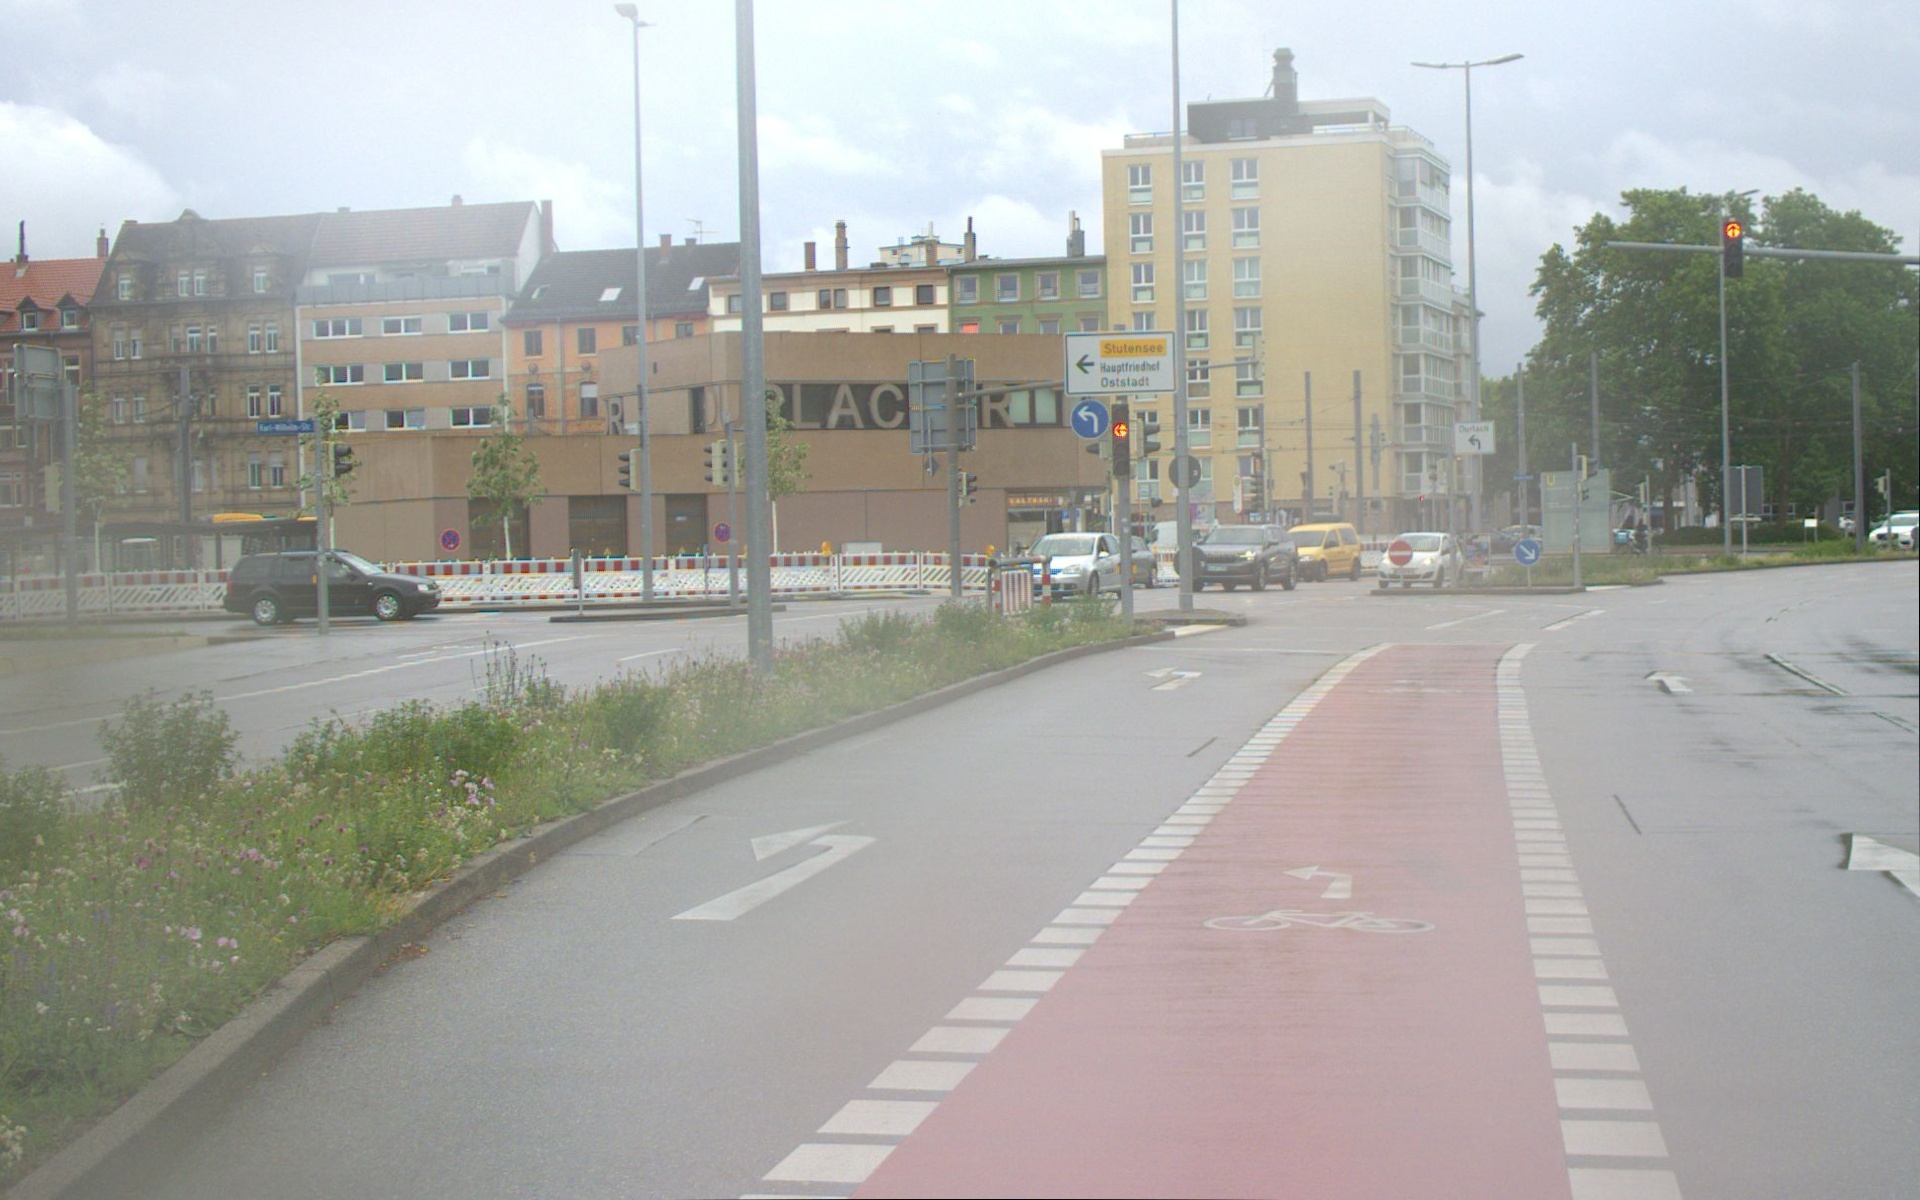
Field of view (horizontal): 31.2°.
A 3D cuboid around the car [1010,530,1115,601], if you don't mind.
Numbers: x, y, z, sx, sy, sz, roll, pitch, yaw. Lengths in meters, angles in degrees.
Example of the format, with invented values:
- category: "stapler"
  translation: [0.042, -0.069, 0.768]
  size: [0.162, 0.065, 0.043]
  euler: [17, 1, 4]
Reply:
- category: "car"
  translation: [2.201, -0.753, 73.092]
  size: [1.680, 1.399, 4.156]
  euler: [-2, 1, 9]

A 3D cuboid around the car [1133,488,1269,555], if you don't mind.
- category: "car"
  translation: [12.741, -4.161, 181.603]
  size: [6.745, 3.368, 2.808]
  euler: [-1, 1, 14]

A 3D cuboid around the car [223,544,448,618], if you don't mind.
- category: "car"
  translation: [-12.665, -0.396, 69.862]
  size: [4.192, 1.397, 1.618]
  euler: [-1, 1, 5]

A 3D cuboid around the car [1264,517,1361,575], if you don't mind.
- category: "car"
  translation: [10.871, -1.672, 105.724]
  size: [1.707, 1.700, 4.147]
  euler: [-1, 1, 24]

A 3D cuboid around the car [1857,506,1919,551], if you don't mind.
- category: "car"
  translation: [39.223, -3.013, 142.990]
  size: [1.830, 1.676, 5.155]
  euler: [-2, 1, 37]

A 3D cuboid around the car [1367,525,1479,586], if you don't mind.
- category: "car"
  translation: [12.235, -1.187, 90.669]
  size: [1.681, 1.496, 3.863]
  euler: [-2, 1, 27]

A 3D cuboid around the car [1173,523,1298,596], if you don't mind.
- category: "car"
  translation: [6.862, -1.019, 85.108]
  size: [1.995, 1.630, 4.599]
  euler: [-3, 1, 18]

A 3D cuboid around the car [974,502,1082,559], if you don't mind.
- category: "car"
  translation: [3.666, -3.715, 184.066]
  size: [5.354, 2.877, 2.338]
  euler: [-1, 1, 14]
